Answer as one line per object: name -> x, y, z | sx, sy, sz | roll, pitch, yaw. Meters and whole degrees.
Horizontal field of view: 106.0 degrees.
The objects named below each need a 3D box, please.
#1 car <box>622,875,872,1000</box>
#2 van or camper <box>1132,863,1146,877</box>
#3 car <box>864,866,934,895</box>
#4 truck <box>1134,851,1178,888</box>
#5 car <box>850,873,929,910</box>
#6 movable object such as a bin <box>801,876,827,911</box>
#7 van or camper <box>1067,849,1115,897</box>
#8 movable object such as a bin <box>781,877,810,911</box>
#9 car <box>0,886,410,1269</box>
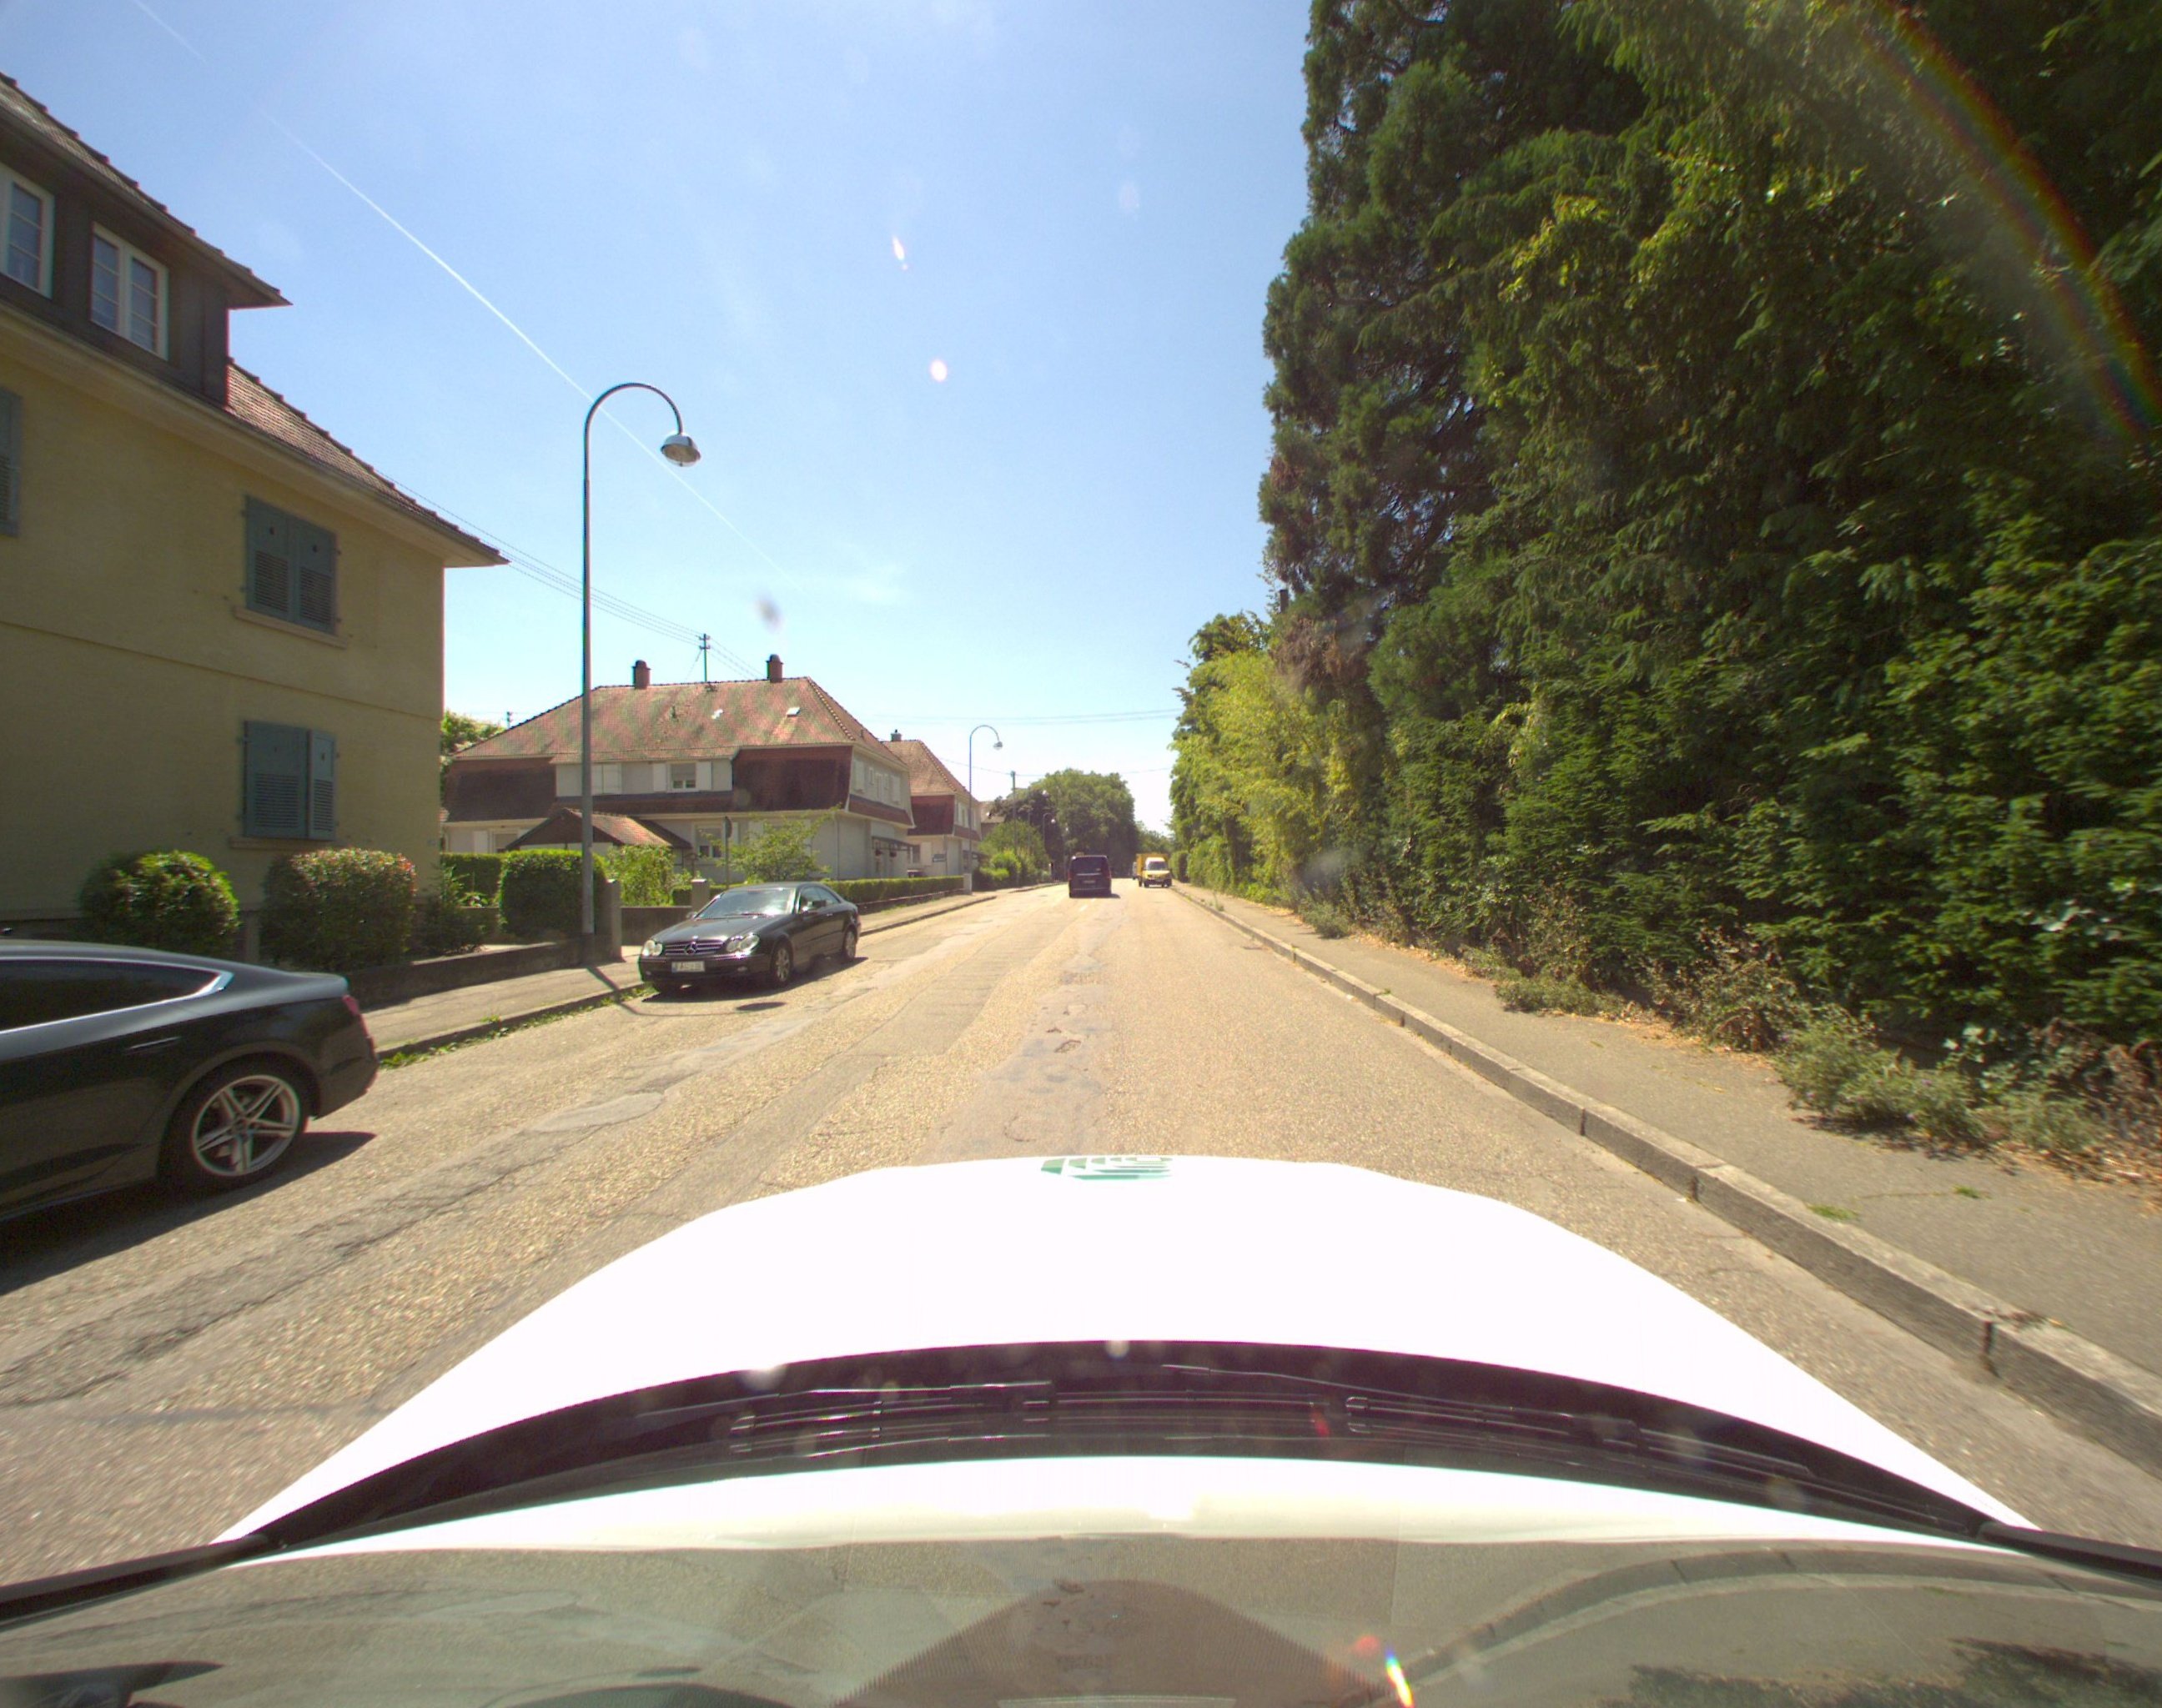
car -> -4.689, 1.086, 12.234 | 1.659, 1.386, 4.384 | -3, -1, 3
van or camper -> 8.531, 2.311, 119.232 | 1.985, 2.014, 4.003 | -2, -1, 3
car -> -11.365, 1.634, 50.996 | 3.851, 1.641, 1.881 | -2, -1, 2
truck -> 4.993, 1.061, 55.041 | 2.348, 2.258, 6.090 | -1, -1, 0
car -> -10.699, 2.089, 45.593 | 3.851, 1.905, 1.881 | -2, -1, 2
movable object such as a bin -> -10.529, 1.545, 32.162 | 0.687, 1.322, 0.919 | -1, -1, 0
van or camper -> 0.526, 0.863, 37.219 | 1.894, 2.014, 5.274 | 0, -1, 4
movable object such as a bin -> -11.296, 1.567, 32.235 | 0.816, 1.322, 0.919 | -1, -1, 0
car -> -5.232, 0.945, 2.974 | 1.659, 1.493, 4.469 | -1, -1, 3
